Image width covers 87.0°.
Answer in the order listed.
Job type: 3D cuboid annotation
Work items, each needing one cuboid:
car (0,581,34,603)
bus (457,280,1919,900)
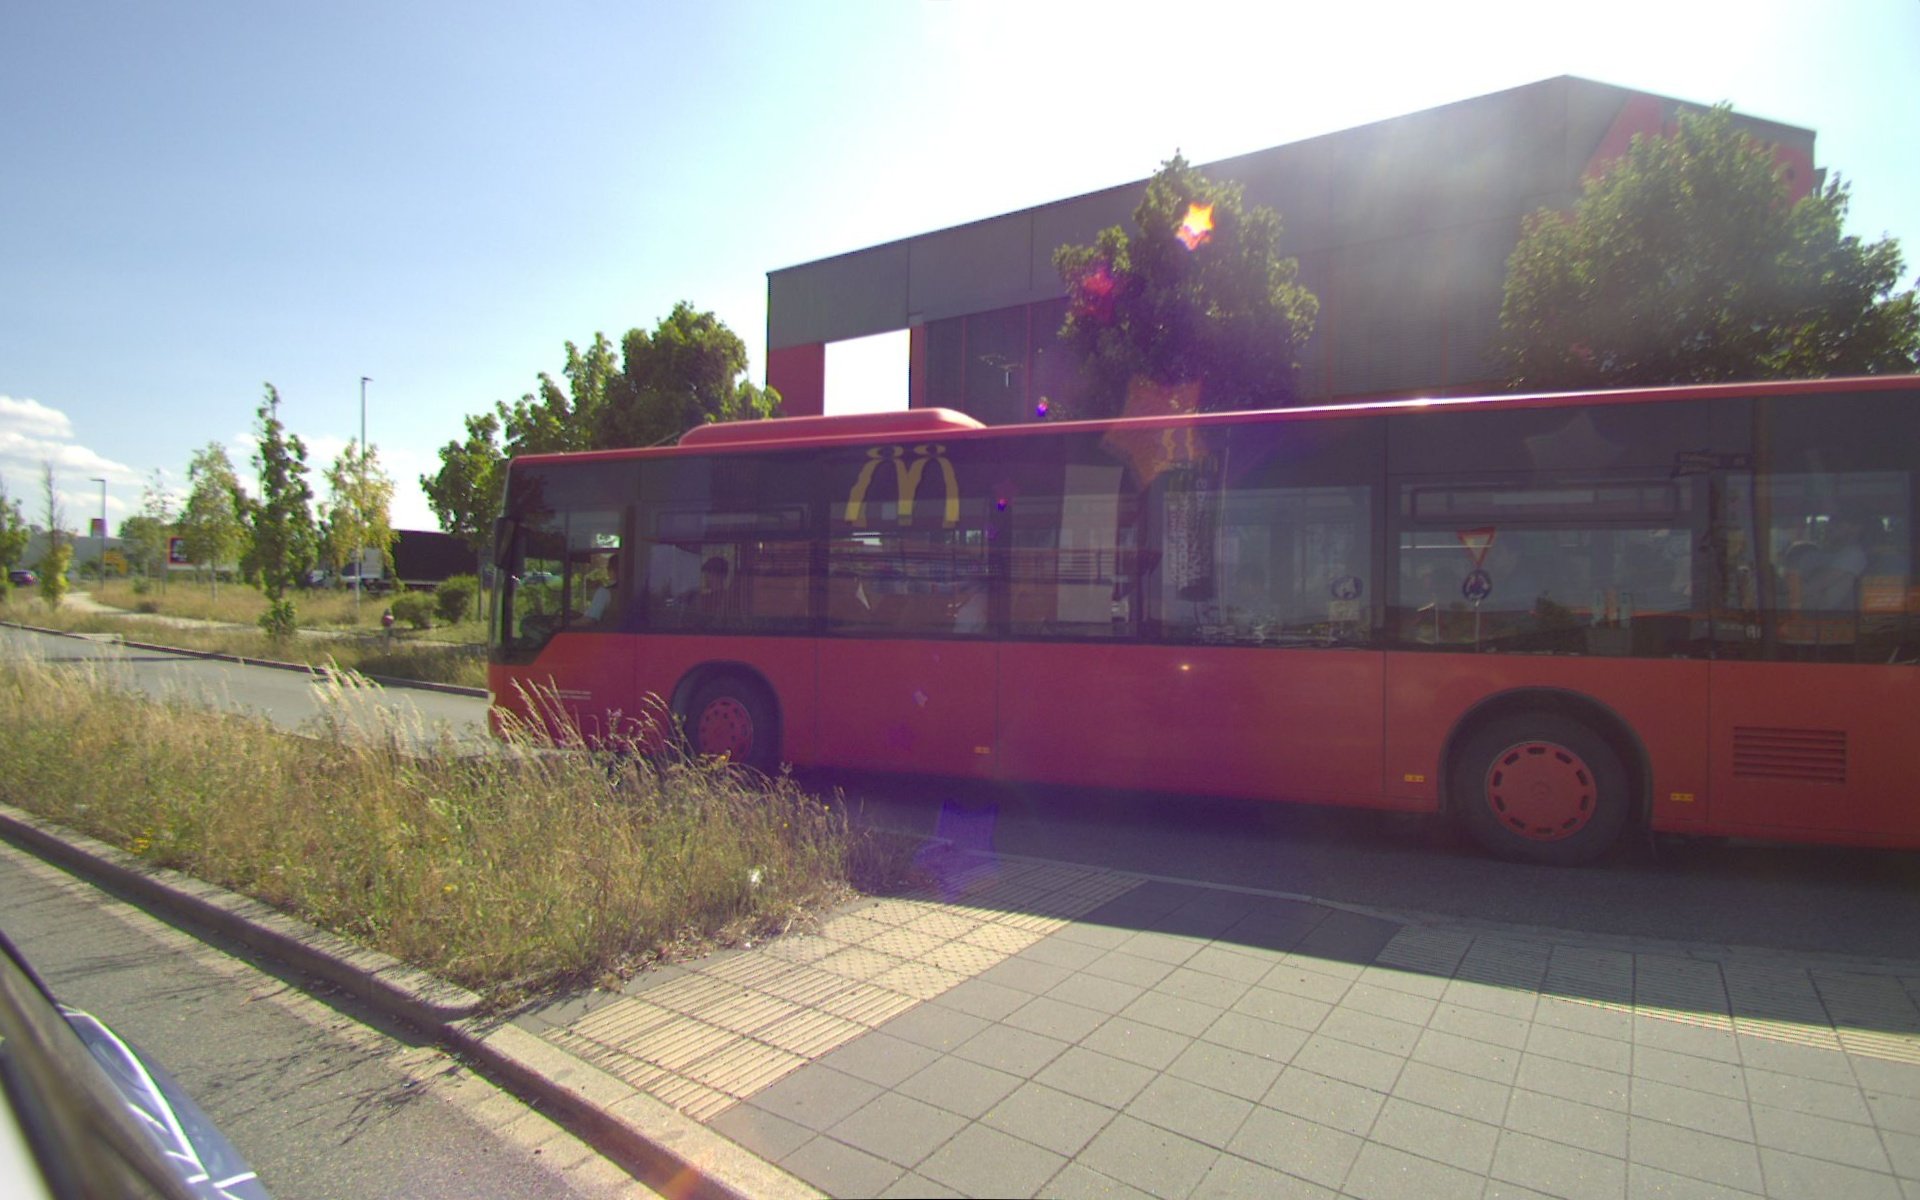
[{"bbox_3d":[-73.579,-0.591,78.711,4.001,1.630,1.971,1,-1,44],"label":"car"},{"bbox_3d":[1.582,0.019,8.021,11.793,3.266,2.600,-1,-2,21],"label":"bus"}]
